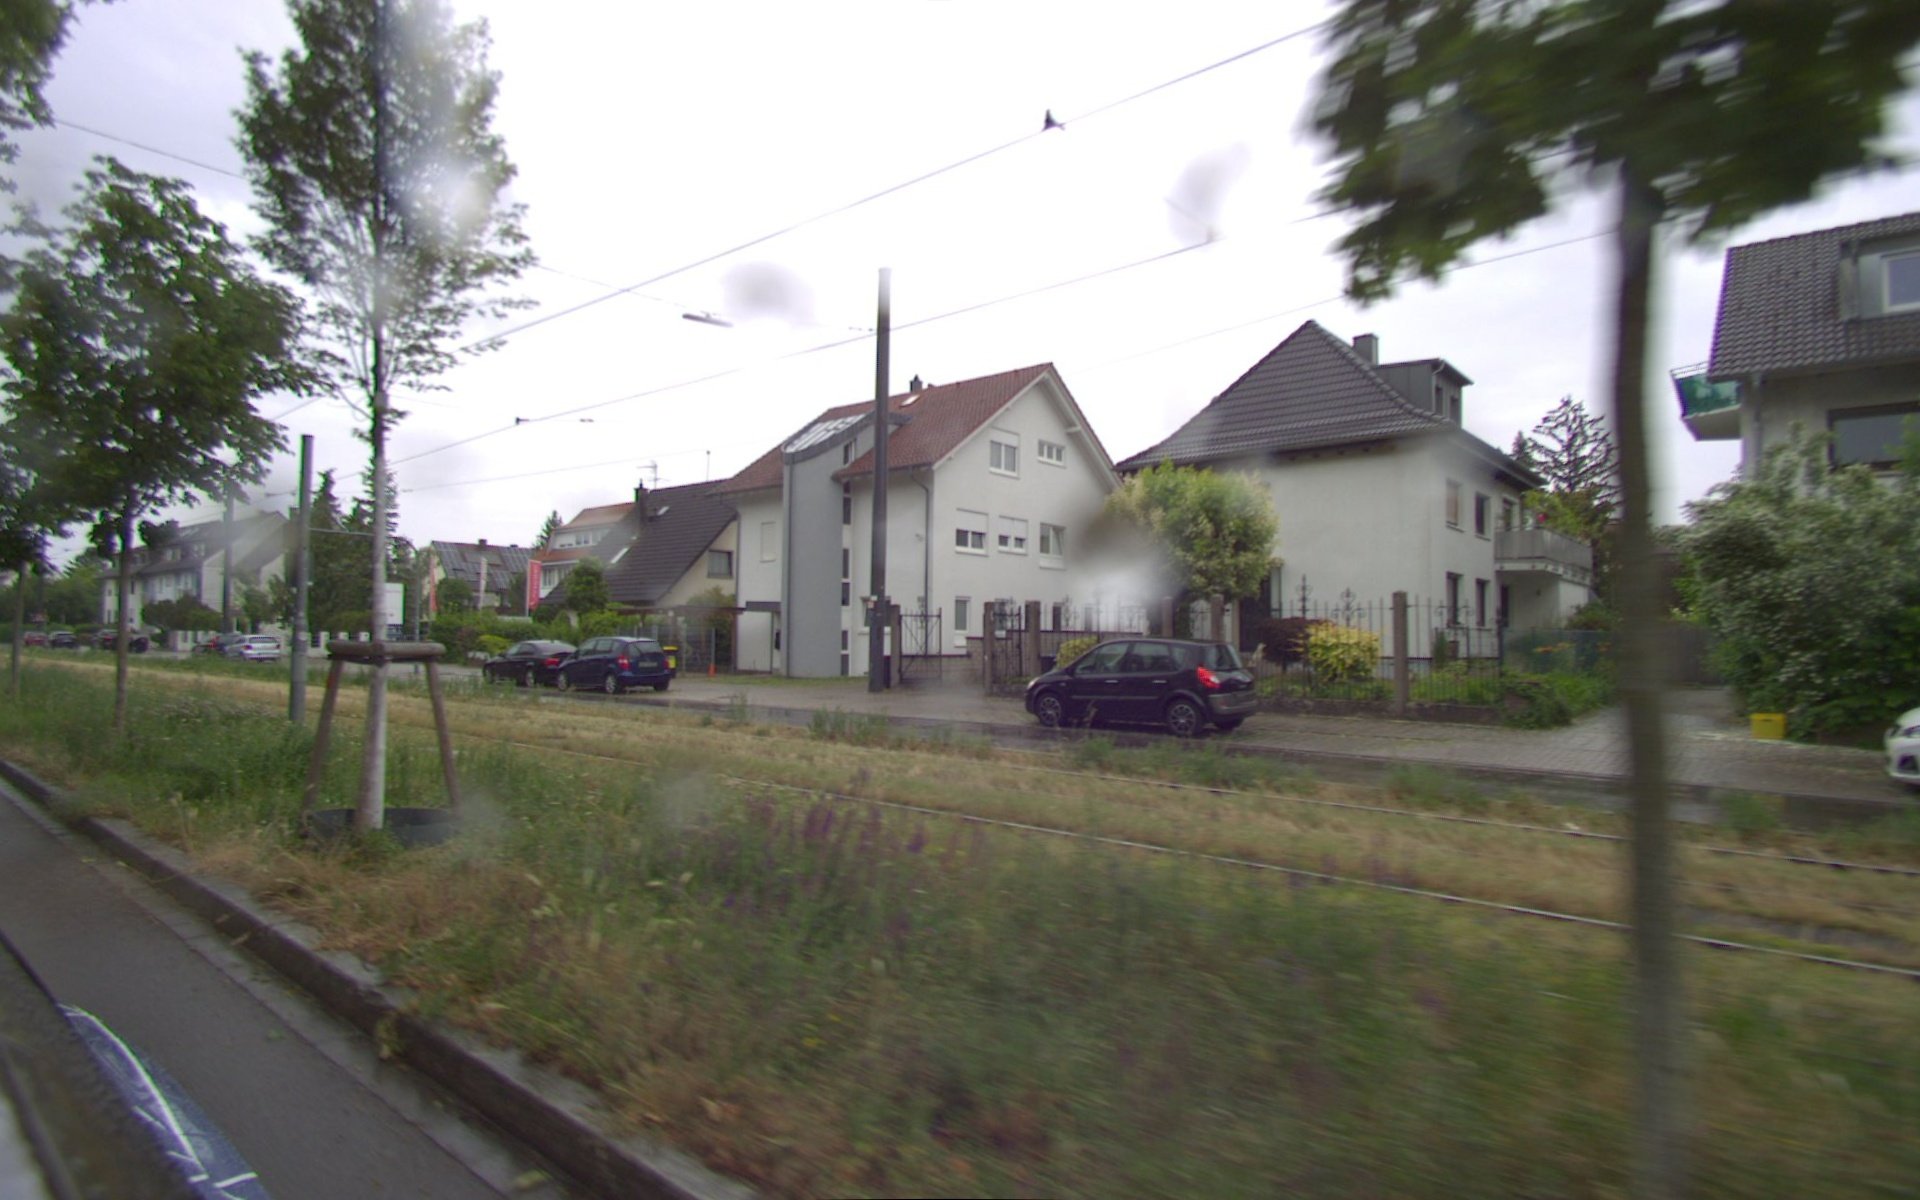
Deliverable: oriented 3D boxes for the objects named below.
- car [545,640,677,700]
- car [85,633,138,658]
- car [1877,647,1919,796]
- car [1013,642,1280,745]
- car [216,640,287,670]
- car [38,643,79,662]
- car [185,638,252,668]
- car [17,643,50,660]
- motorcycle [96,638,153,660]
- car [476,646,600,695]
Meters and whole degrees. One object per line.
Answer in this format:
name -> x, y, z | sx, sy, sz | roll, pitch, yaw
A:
car -> -10.037, 1.961, 29.037 | 3.866, 1.562, 1.855 | -2, -2, 40
car -> -59.968, 3.168, 71.488 | 4.381, 1.687, 1.975 | -1, -2, 38
car -> 11.778, 1.262, 10.245 | 3.595, 1.500, 1.777 | -2, -2, 41
car -> 3.198, 1.536, 17.806 | 4.203, 1.528, 1.973 | -2, -2, 41
car -> -35.705, 2.751, 50.958 | 3.967, 1.421, 1.974 | -2, -2, 39
car -> -73.003, 4.216, 81.926 | 4.759, 1.421, 1.973 | -2, -2, 41
car -> -39.663, 2.808, 54.120 | 4.529, 1.467, 1.973 | -2, -2, 41
car -> -81.755, 4.523, 89.282 | 3.998, 1.468, 1.779 | -2, -2, 41
motorcycle -> -56.124, 3.277, 67.989 | 2.645, 1.421, 1.269 | 0, -1, -8
car -> -13.465, 2.191, 32.195 | 4.238, 1.361, 1.973 | -2, -2, 41
